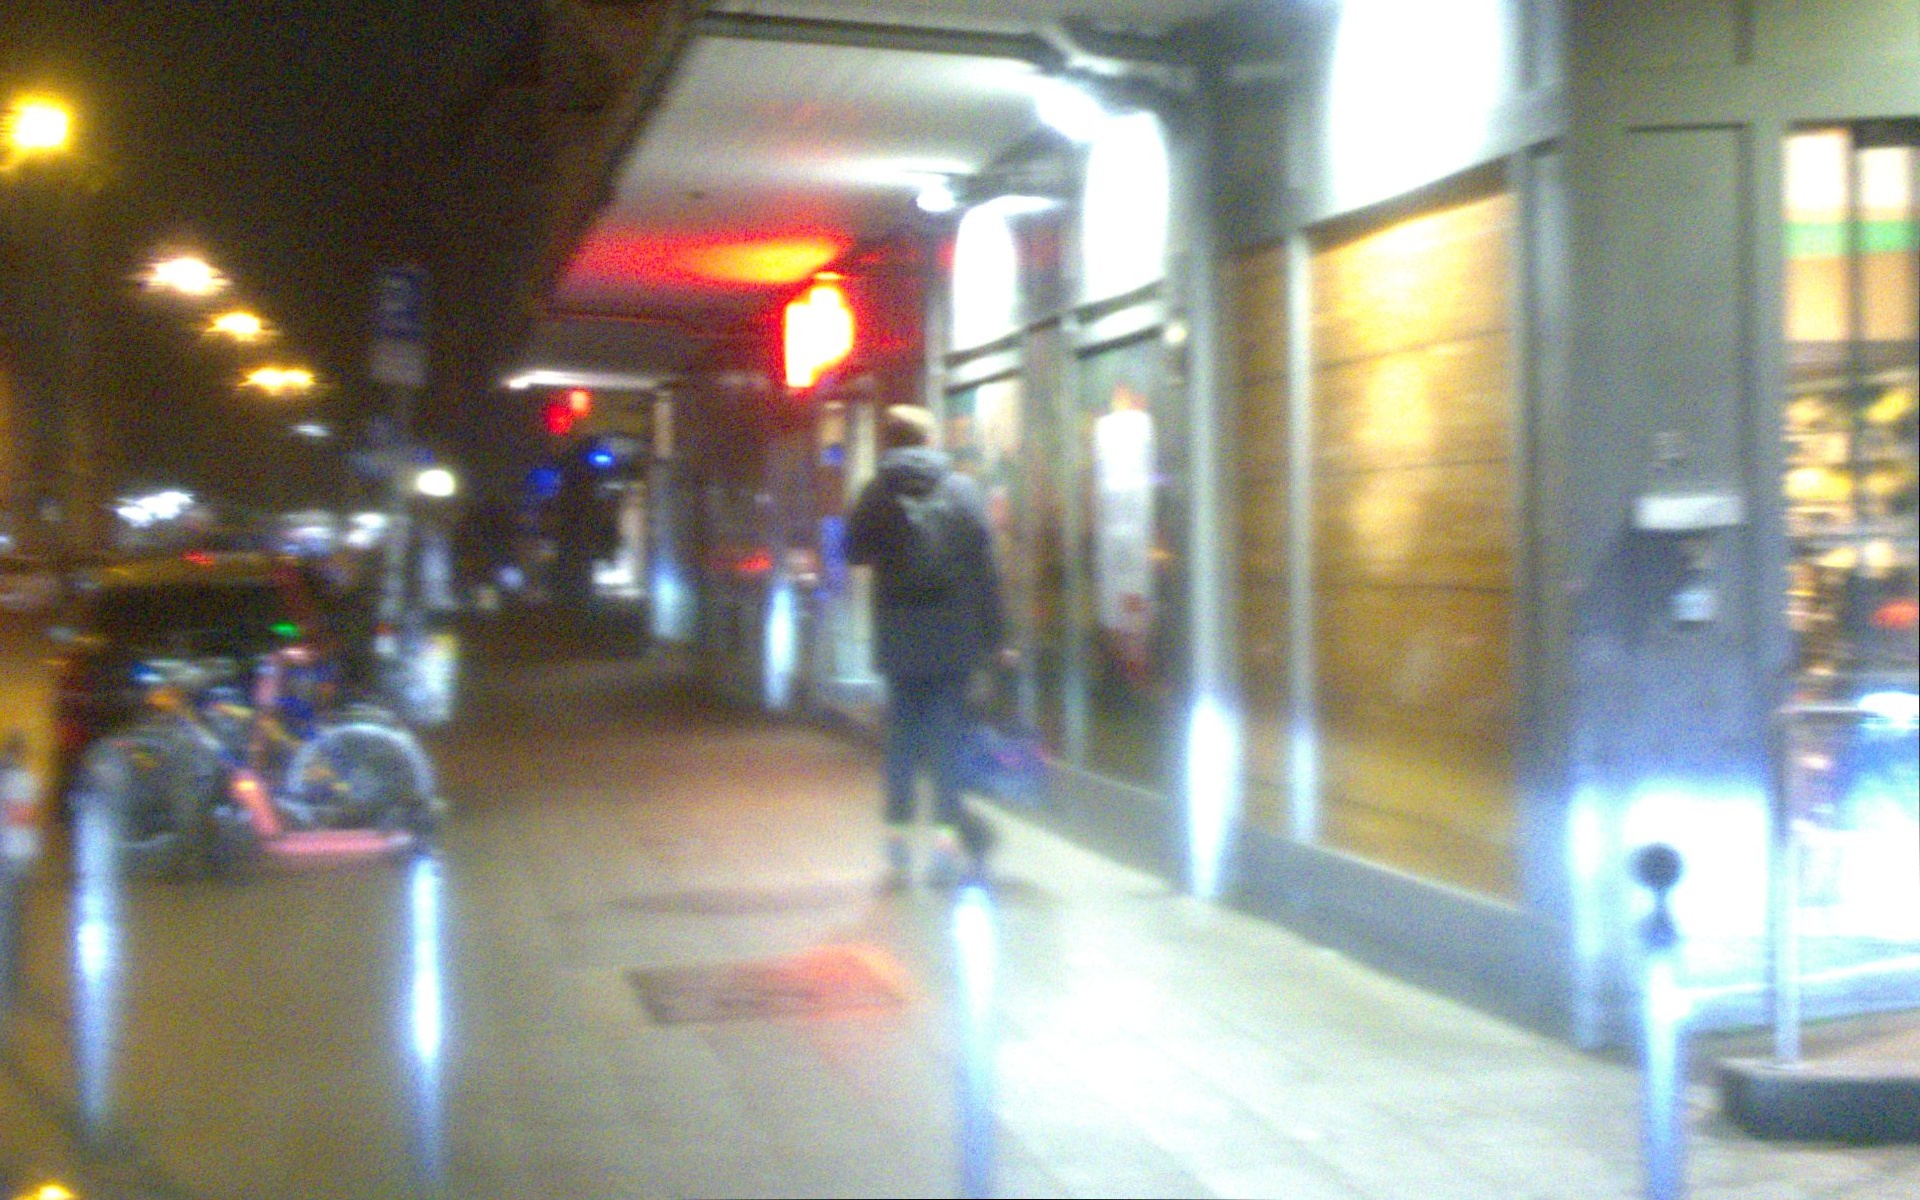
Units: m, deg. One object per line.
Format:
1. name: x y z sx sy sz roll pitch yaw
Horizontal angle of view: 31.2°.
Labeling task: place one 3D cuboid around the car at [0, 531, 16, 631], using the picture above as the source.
1. car: -20.309 -0.416 69.375 1.993 2.007 4.001 1 0 -9

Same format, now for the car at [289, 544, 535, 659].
1. car: -9.968 0.025 62.504 3.986 2.007 2.000 -1 0 -25

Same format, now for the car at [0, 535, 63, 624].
1. car: -22.272 -0.507 80.618 1.993 2.007 4.001 1 0 -10

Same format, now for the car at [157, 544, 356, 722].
1. car: -6.749 0.297 33.231 1.752 1.602 3.991 1 0 -10

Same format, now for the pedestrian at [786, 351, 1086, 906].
1. pedestrian: -0.117 0.103 14.319 1.053 2.201 0.970 -2 1 -9

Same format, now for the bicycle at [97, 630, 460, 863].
1. bicycle: -3.472 0.737 17.570 1.782 1.121 0.436 -1 1 -11

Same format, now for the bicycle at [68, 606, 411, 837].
1. bicycle: -3.974 0.663 19.028 1.761 1.121 0.436 -4 2 -11

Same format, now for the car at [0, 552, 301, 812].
1. car: -5.305 0.497 22.886 1.752 1.560 4.155 1 0 -10

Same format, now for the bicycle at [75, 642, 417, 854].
1. bicycle: -3.809 0.780 18.399 1.761 1.075 0.436 -1 1 -11
